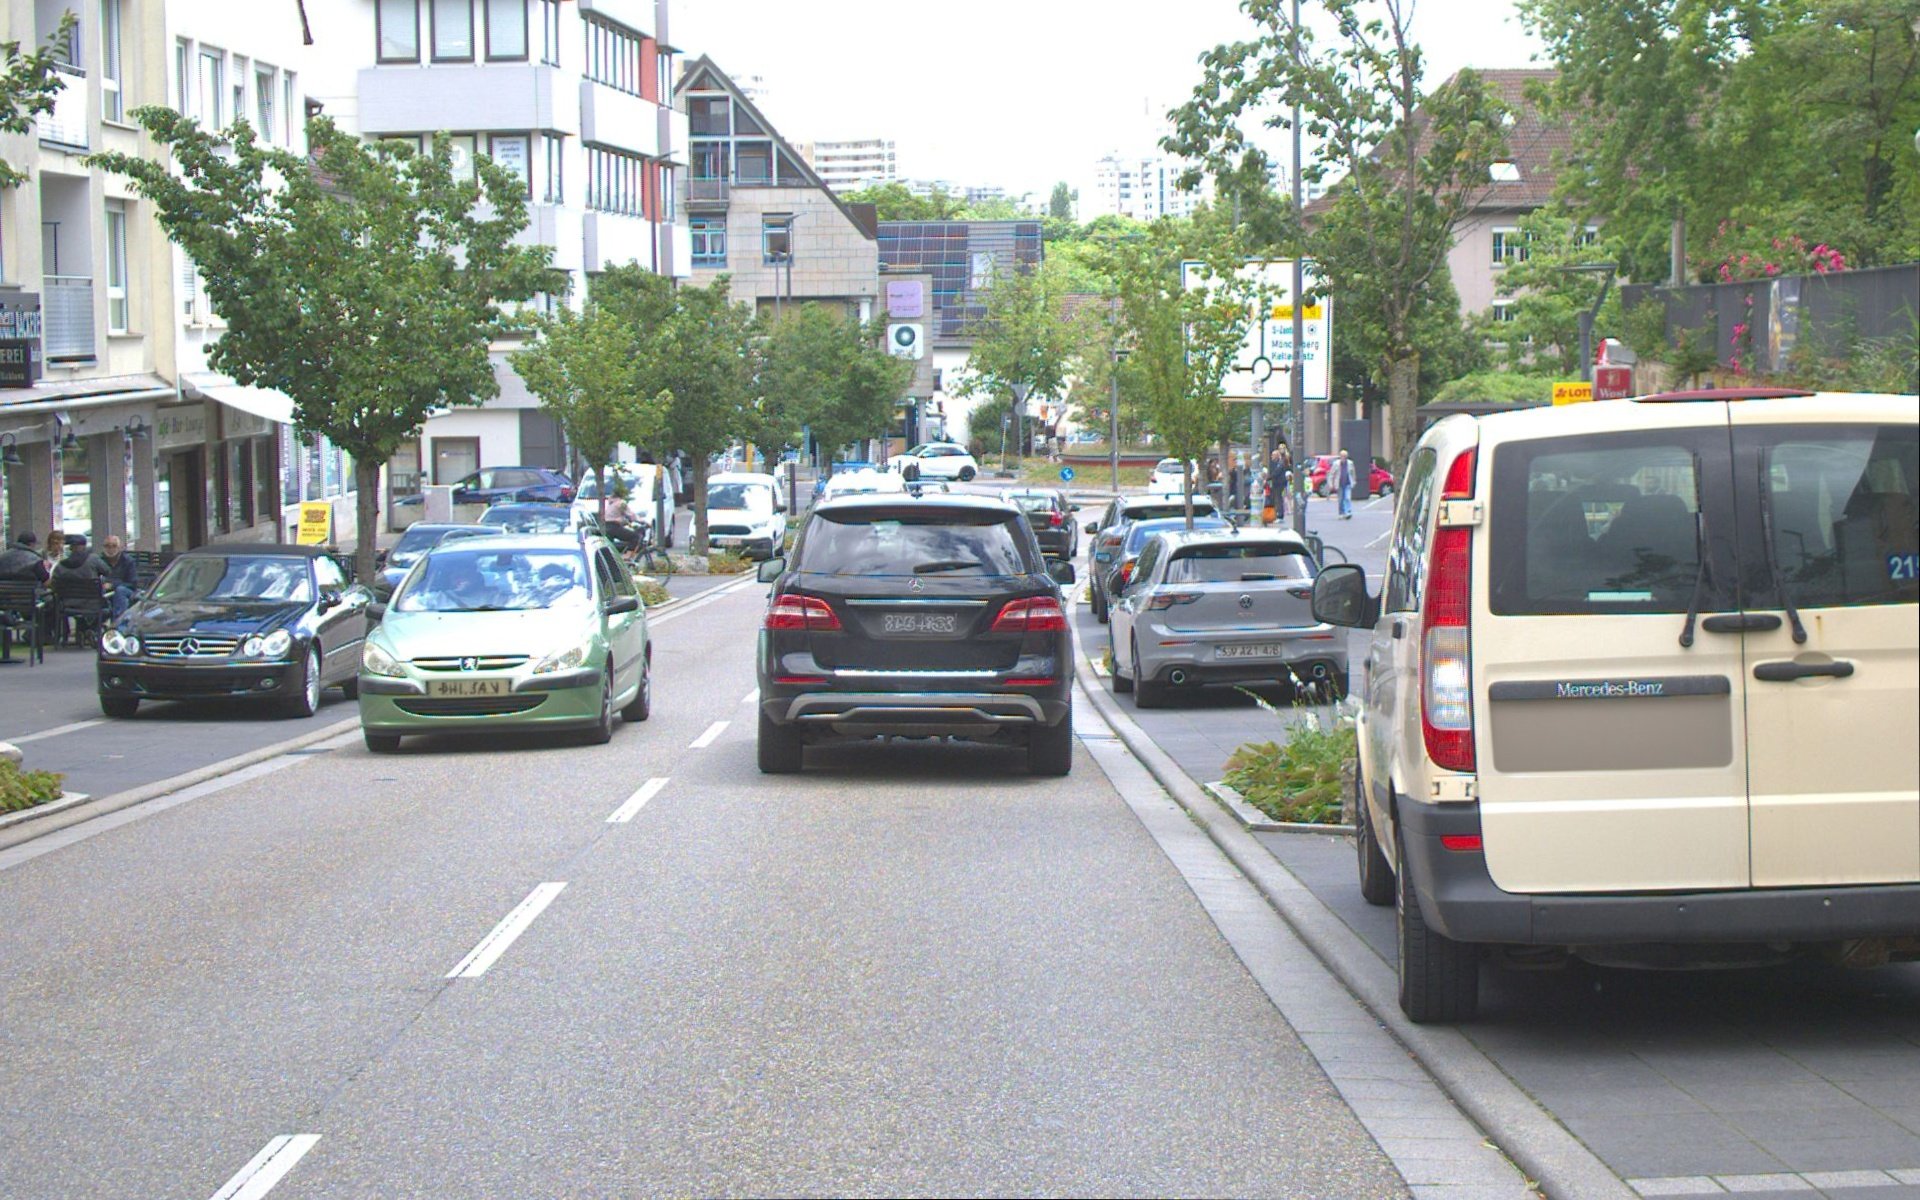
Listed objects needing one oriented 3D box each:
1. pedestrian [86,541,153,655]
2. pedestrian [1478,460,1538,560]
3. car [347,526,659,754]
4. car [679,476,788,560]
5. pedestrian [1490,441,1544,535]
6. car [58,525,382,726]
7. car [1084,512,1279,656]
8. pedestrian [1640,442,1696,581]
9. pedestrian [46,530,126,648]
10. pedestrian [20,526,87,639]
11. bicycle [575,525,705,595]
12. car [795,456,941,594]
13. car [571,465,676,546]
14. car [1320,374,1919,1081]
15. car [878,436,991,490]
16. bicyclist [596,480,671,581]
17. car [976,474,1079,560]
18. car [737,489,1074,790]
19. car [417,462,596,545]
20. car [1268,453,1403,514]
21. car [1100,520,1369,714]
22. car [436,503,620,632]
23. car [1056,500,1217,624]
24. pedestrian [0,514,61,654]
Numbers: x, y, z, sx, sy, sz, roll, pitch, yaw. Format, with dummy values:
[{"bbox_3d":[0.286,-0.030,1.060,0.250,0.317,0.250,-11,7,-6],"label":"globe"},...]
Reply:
[{"bbox_3d":[-9.605,-0.027,39.305,0.565,1.277,0.758,-1,1,-1],"label":"pedestrian"},{"bbox_3d":[10.764,-1.763,67.521,1.050,1.906,0.937,-3,1,7],"label":"pedestrian"},{"bbox_3d":[-3.284,0.229,25.389,1.812,1.503,4.000,-1,1,-1],"label":"car"},{"bbox_3d":[-4.597,-1.694,70.291,1.926,1.623,4.262,2,2,0],"label":"car"},{"bbox_3d":[13.060,-2.621,80.624,1.012,2.144,1.067,-2,1,18],"label":"pedestrian"},{"bbox_3d":[-6.237,0.156,29.440,1.926,1.491,4.263,2,2,-1],"label":"car"},{"bbox_3d":[2.524,-0.234,40.135,1.938,1.452,4.707,-3,2,0],"label":"car"},{"bbox_3d":[8.209,-1.023,39.890,0.568,1.581,0.666,-1,1,8],"label":"pedestrian"},{"bbox_3d":[-9.649,-0.127,37.951,0.686,1.277,0.676,-1,1,-1],"label":"pedestrian"},{"bbox_3d":[-10.366,-0.207,39.314,0.565,1.277,0.758,0,1,-1],"label":"pedestrian"},{"bbox_3d":[-5.298,-0.666,56.935,1.956,1.054,0.712,-3,1,-27],"label":"bicycle"},{"bbox_3d":[-1.652,-1.401,63.660,2.174,2.356,4.622,-3,1,4],"label":"car"},{"bbox_3d":[-7.137,-2.039,73.260,1.926,1.623,4.415,2,2,-2],"label":"car"},{"bbox_3d":[2.339,0.260,11.768,1.938,1.885,4.707,-3,2,4],"label":"car"},{"bbox_3d":[-1.007,-5.312,133.656,4.070,2.007,2.001,1,1,-11],"label":"car"},{"bbox_3d":[-5.406,-1.150,56.870,0.962,1.604,0.730,-3,1,-27],"label":"bicyclist"},{"bbox_3d":[1.328,-1.701,69.191,1.926,1.623,4.262,2,2,0],"label":"car"},{"bbox_3d":[-0.320,0.168,22.167,1.943,1.734,4.179,1,2,0],"label":"car"},{"bbox_3d":[-10.632,-2.265,80.810,3.986,1.744,2.000,-3,1,-4],"label":"car"},{"bbox_3d":[12.844,-3.986,117.637,4.183,2.023,1.788,-1,1,-16],"label":"car"},{"bbox_3d":[2.278,0.081,29.649,1.938,1.452,4.707,-1,2,0],"label":"car"},{"bbox_3d":[-5.728,-0.472,46.017,1.926,1.623,4.262,0,2,0],"label":"car"},{"bbox_3d":[2.333,-0.552,46.431,1.938,1.539,4.707,-1,2,0],"label":"car"},{"bbox_3d":[-10.324,-0.179,37.989,0.573,1.529,0.676,-1,1,-1],"label":"pedestrian"}]
